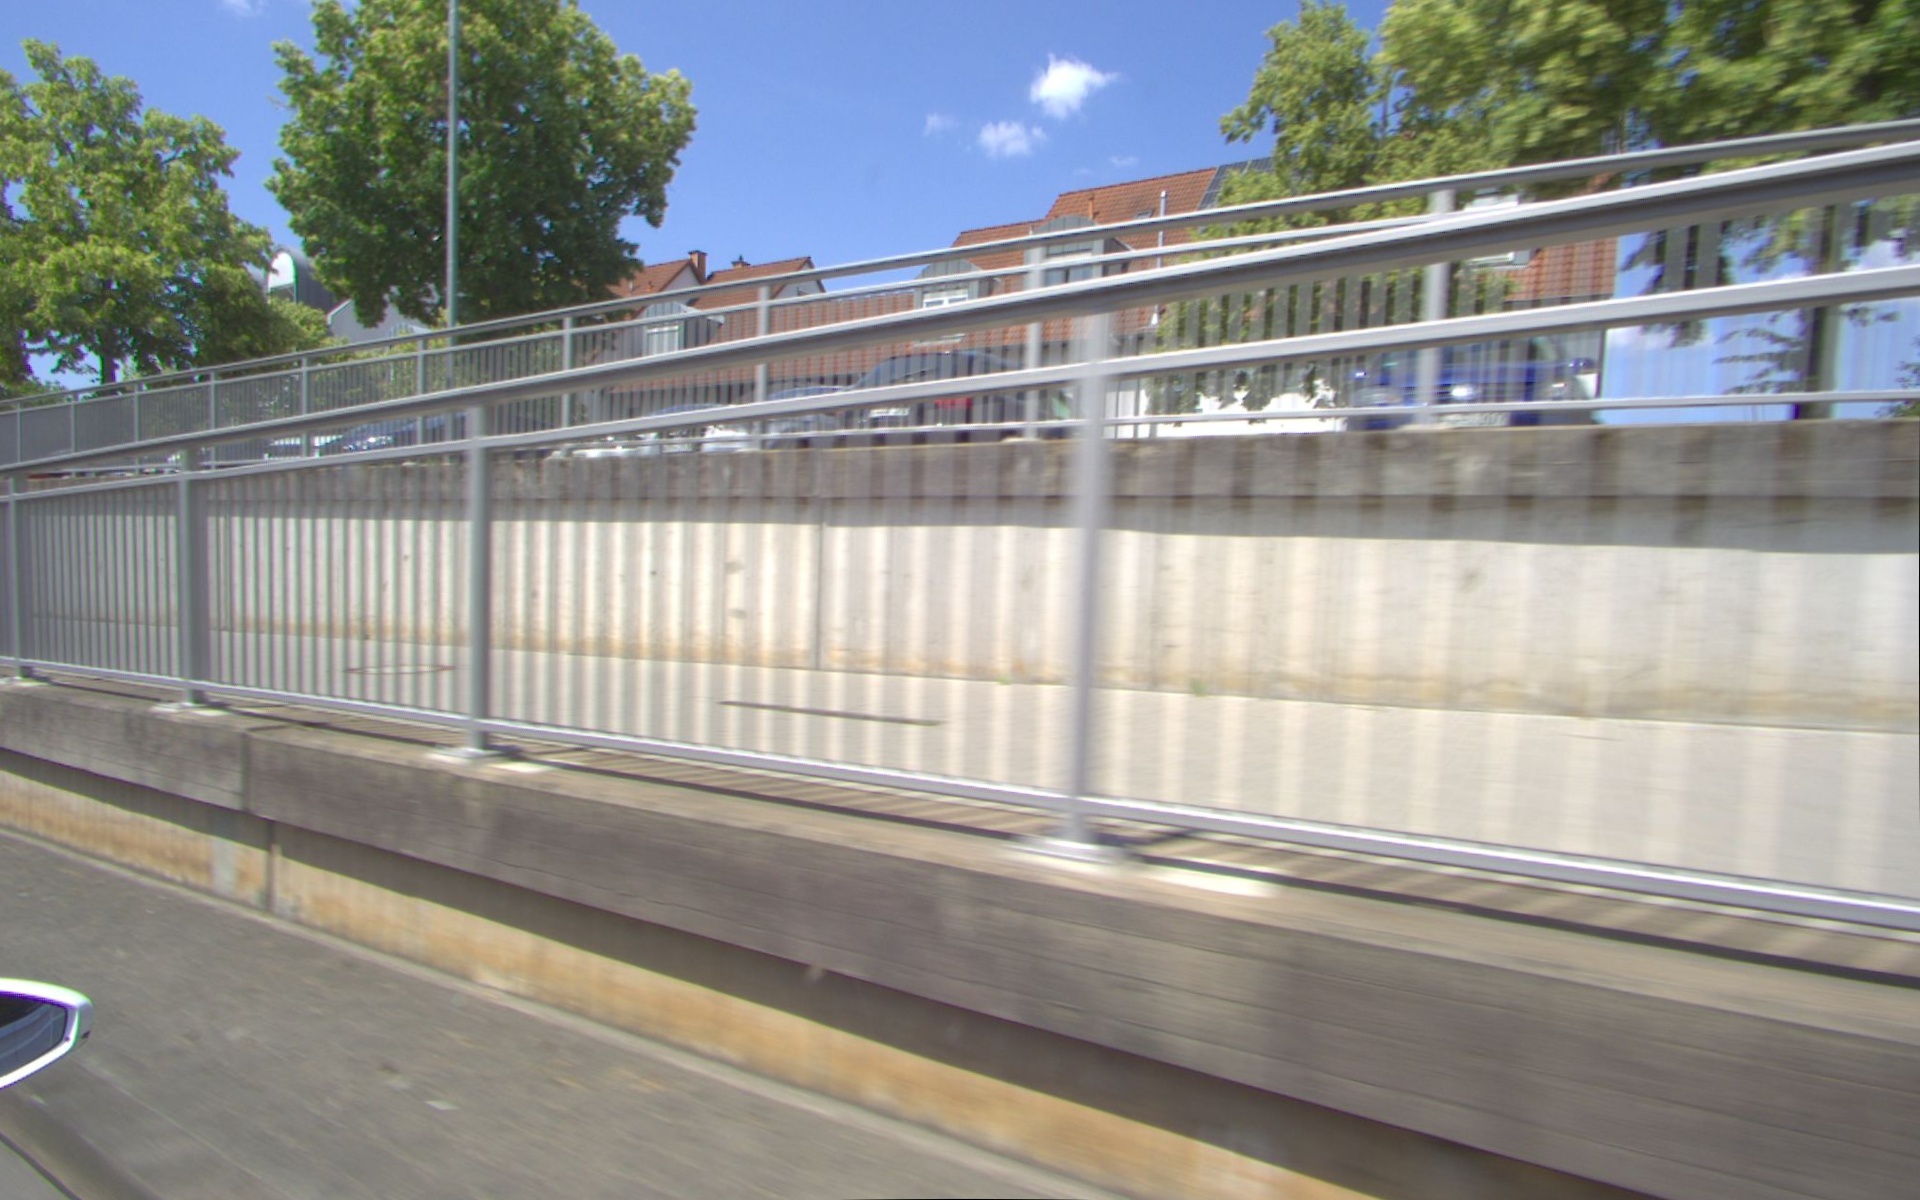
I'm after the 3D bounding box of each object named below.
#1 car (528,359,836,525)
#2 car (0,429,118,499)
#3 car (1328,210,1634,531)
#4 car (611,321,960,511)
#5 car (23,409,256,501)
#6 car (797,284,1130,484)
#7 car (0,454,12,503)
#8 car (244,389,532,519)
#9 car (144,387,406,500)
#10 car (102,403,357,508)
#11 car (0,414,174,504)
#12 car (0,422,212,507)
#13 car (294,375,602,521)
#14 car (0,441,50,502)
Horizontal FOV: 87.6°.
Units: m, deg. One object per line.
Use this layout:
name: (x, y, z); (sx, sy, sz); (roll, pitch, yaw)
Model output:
car: (-3.675, -2.016, 13.863); (1.701, 1.576, 3.976); (0, 0, 34)
car: (-25.844, -3.761, 27.429); (1.746, 1.505, 3.976); (0, -1, 35)
car: (4.242, -1.620, 8.616); (1.832, 1.650, 3.990); (0, -1, 23)
car: (-1.846, -1.948, 11.703); (1.700, 1.447, 3.976); (3, 1, 34)
car: (-19.279, -3.332, 23.696); (1.746, 1.505, 3.976); (0, -1, 35)
car: (0.239, -2.100, 10.768); (1.747, 1.325, 3.977); (1, 2, 32)
car: (-33.473, -4.110, 32.285); (1.746, 1.505, 3.976); (0, -1, 35)
car: (-9.652, -2.368, 17.194); (1.701, 1.576, 3.976); (0, 0, 34)
car: (-13.473, -2.994, 19.916); (1.746, 1.505, 3.976); (0, -1, 35)
car: (-15.096, -2.912, 20.899); (1.746, 1.505, 3.976); (0, -1, 35)
car: (-23.420, -3.657, 26.370); (1.746, 1.793, 3.976); (0, -1, 35)
car: (-21.533, -3.321, 25.243); (1.746, 1.505, 3.976); (0, -1, 35)
car: (-7.796, -2.209, 15.597); (1.701, 1.576, 3.976); (0, 0, 34)
car: (-29.984, -3.970, 29.846); (1.746, 1.588, 3.976); (0, -1, 35)
